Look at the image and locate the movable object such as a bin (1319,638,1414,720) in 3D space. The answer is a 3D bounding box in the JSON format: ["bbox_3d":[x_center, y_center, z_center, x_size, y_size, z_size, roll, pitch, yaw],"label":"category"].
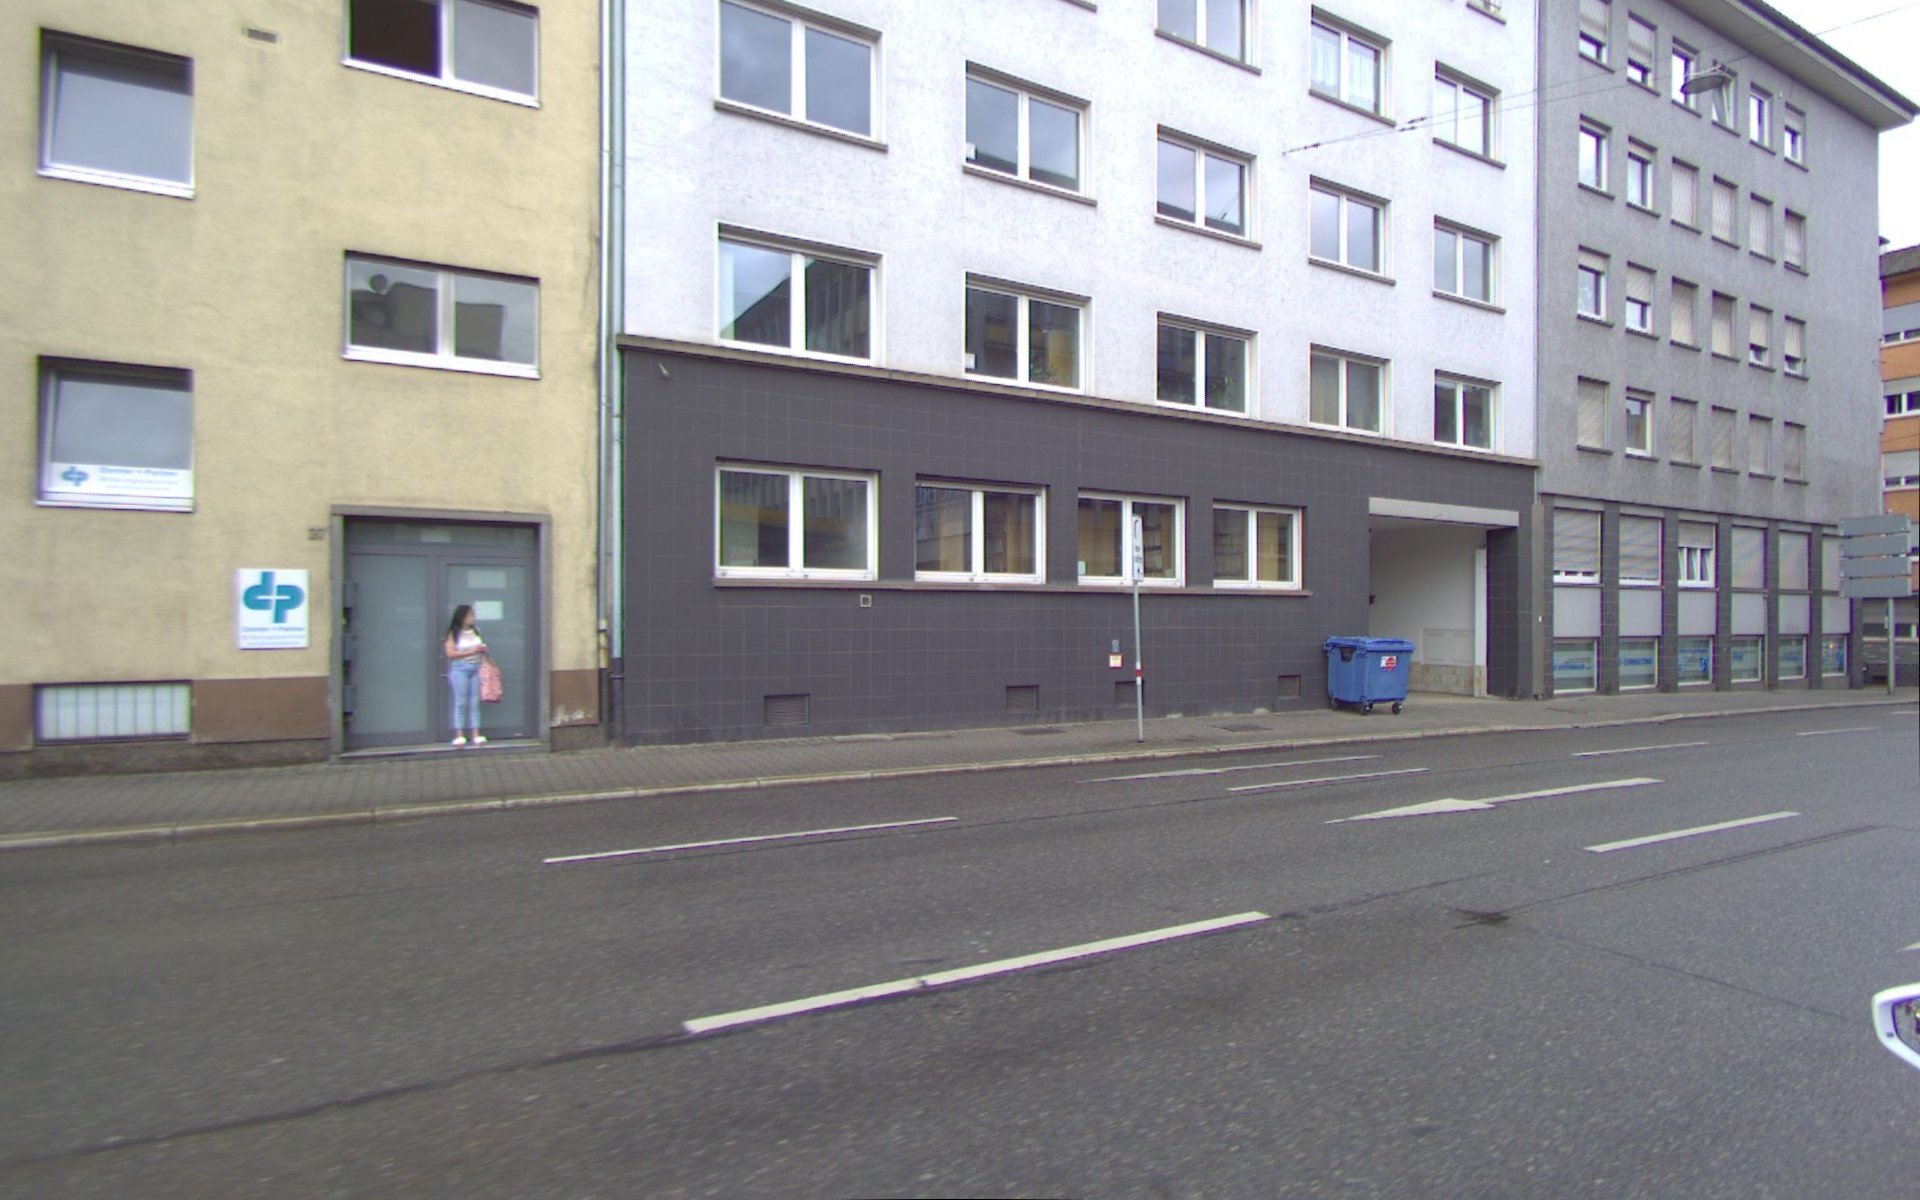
[{"bbox_3d":[7.235,1.377,17.906,1.176,1.342,1.071,1,0,-29],"label":"movable object such as a bin"}]

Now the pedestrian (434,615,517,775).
[{"bbox_3d":[-5.469,1.041,11.337,0.801,1.712,0.714,1,0,-28],"label":"pedestrian"}]

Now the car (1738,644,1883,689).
[{"bbox_3d":[34.143,2.707,40.415,1.907,1.673,3.972,1,-5,-29],"label":"car"}]
